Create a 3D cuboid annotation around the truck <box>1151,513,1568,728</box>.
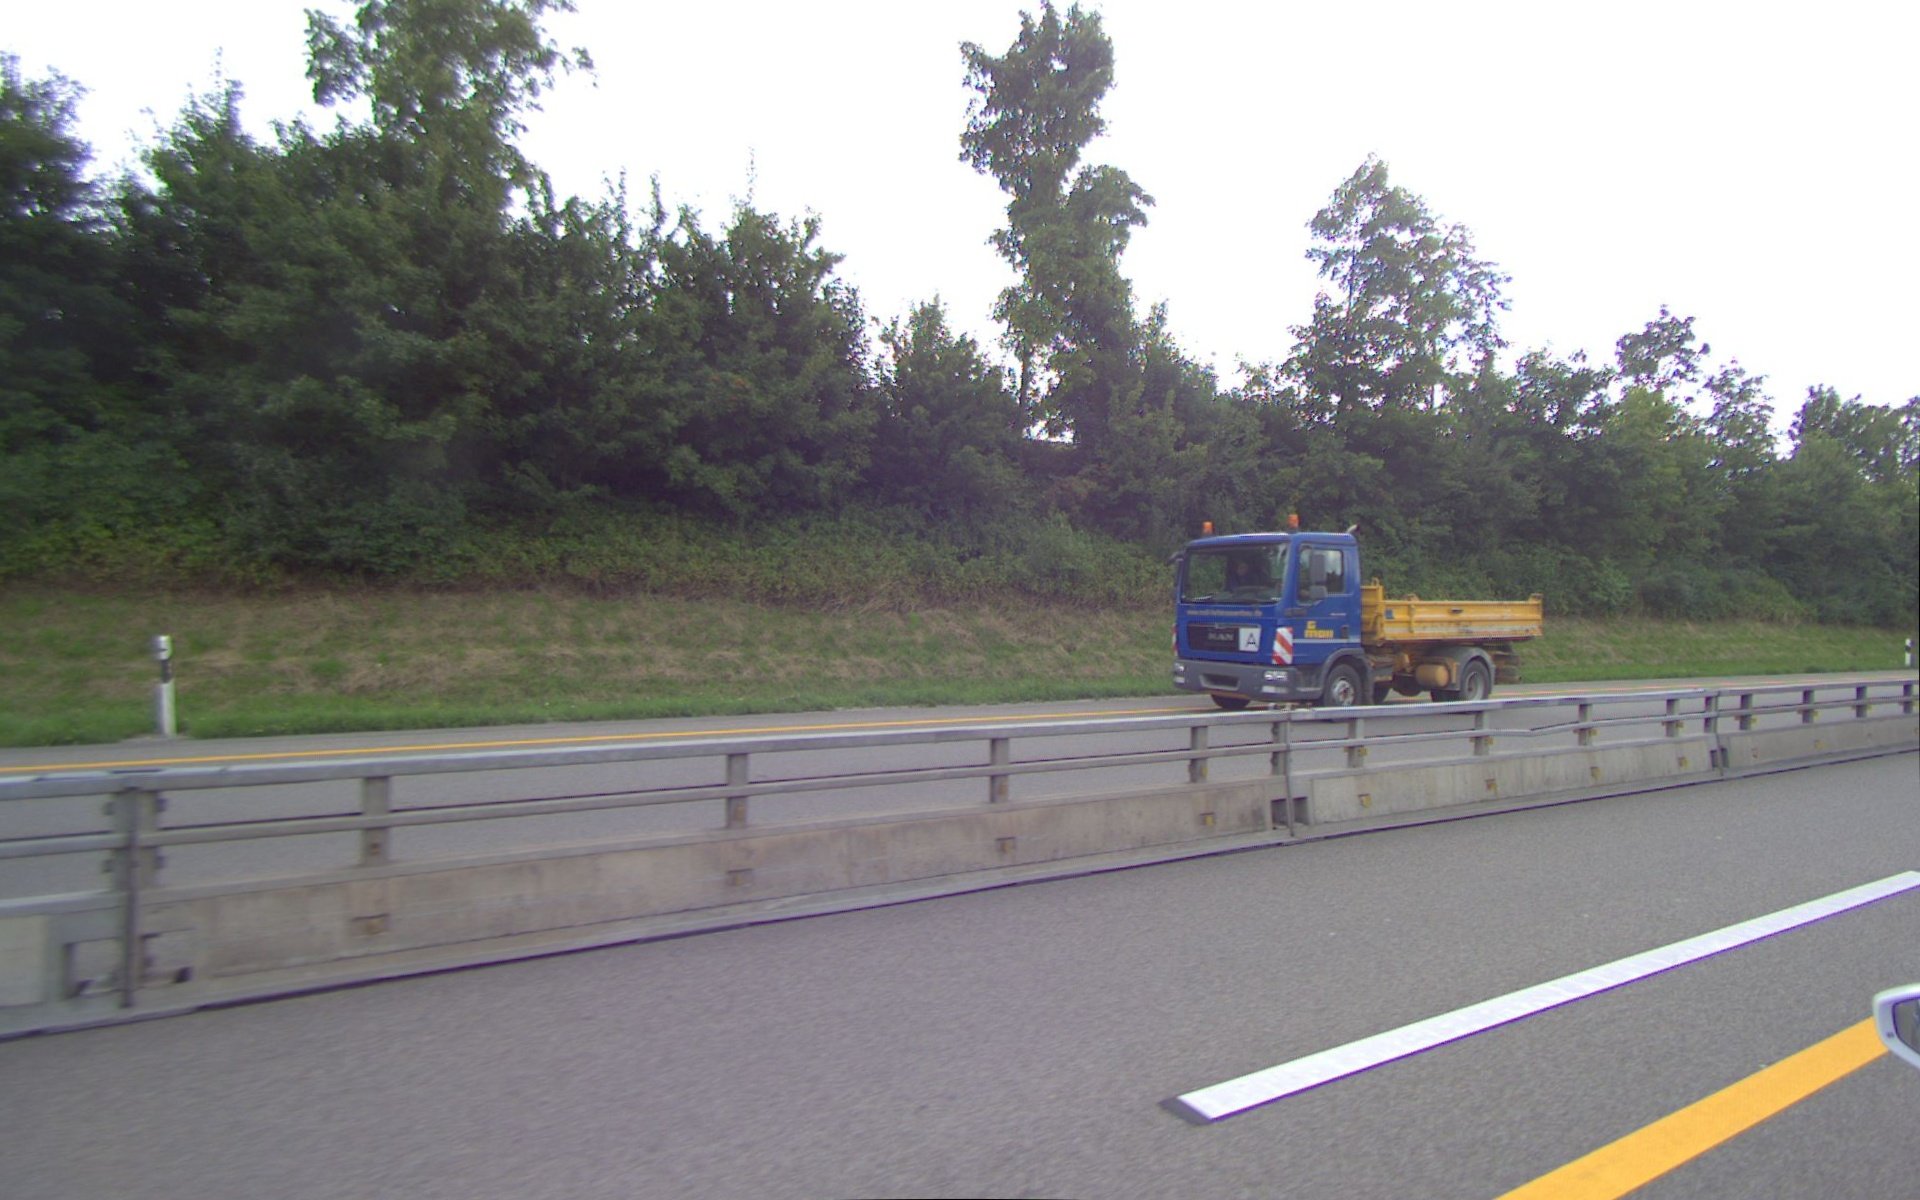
[{"bbox_3d":[6.332,0.313,15.610,6.589,2.754,2.478,1,0,-30],"label":"truck"}]
